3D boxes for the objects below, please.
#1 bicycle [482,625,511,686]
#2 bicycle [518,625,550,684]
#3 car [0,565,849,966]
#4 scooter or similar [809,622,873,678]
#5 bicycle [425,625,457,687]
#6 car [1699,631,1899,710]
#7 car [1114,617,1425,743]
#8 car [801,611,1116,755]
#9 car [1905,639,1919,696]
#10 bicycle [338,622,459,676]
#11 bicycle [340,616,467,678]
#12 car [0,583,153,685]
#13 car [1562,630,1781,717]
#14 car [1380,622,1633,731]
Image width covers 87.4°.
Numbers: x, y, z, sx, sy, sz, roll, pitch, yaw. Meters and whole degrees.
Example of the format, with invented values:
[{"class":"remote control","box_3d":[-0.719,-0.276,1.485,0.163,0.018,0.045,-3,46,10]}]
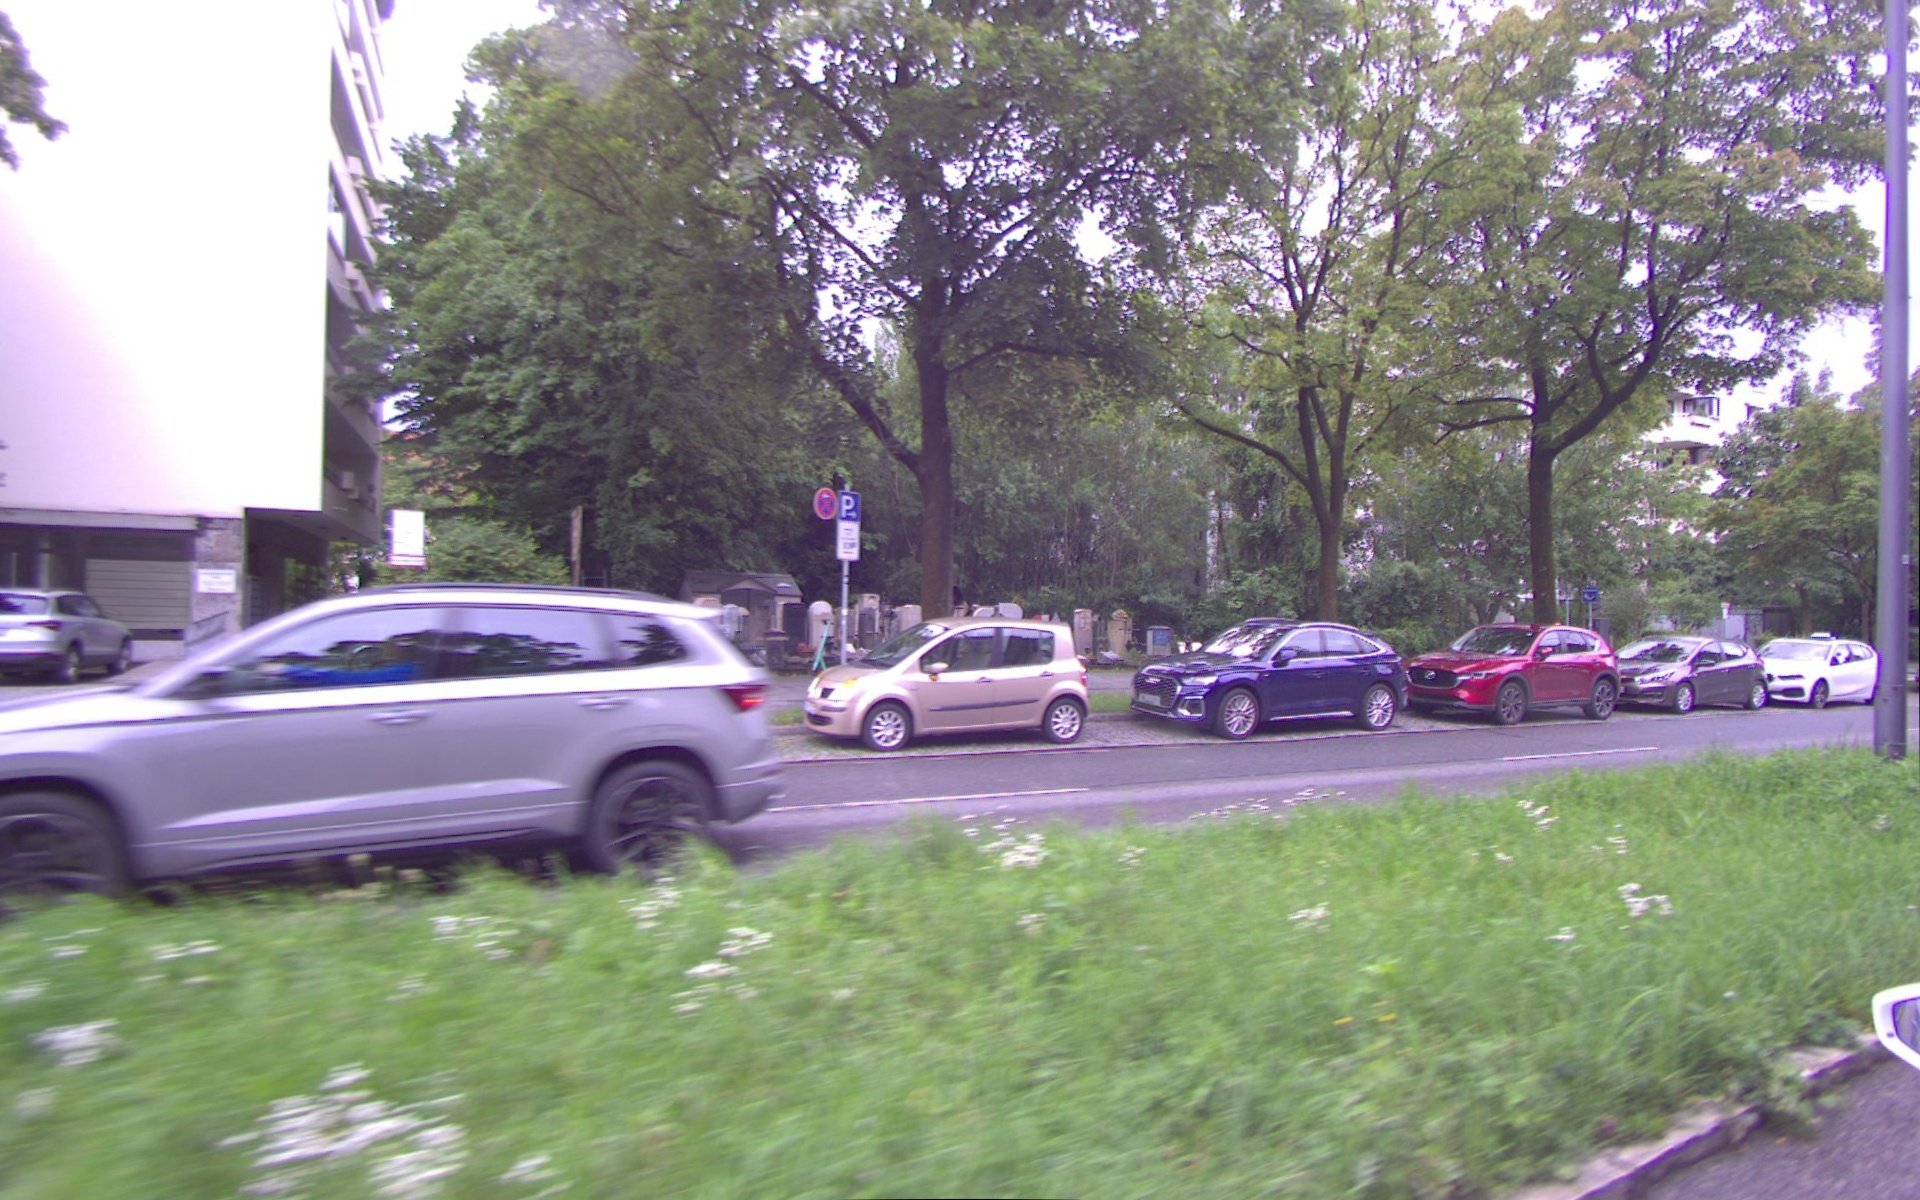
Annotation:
[{"class":"bicycle","box_3d":[-8.274,0.968,17.915,0.431,1.020,1.756,1,-1,-26]},{"class":"bicycle","box_3d":[-7.781,0.972,18.325,0.431,1.020,1.756,1,-1,-26]},{"class":"car","box_3d":[-2.958,0.737,5.605,4.319,1.646,1.760,2,-2,-26]},{"class":"scooter or similar","box_3d":[-2.484,1.040,20.926,1.268,1.141,0.435,1,-1,-14]},{"class":"bicycle","box_3d":[-8.991,0.943,17.429,0.431,1.020,1.756,1,-1,-26]},{"class":"car","box_3d":[18.668,1.521,22.324,4.416,1.550,1.733,1,1,-26]},{"class":"car","box_3d":[4.790,1.154,15.429,4.622,1.665,1.733,1,0,-26]},{"class":"car","box_3d":[-0.019,1.011,13.129,3.766,1.636,1.642,1,0,-25]},{"class":"car","box_3d":[27.456,1.850,26.778,4.760,1.468,1.730,2,1,-27]},{"class":"bicycle","box_3d":[-10.943,0.947,19.661,2.005,1.020,0.577,1,-1,-26]},{"class":"bicycle","box_3d":[-10.321,0.865,18.707,2.005,1.114,0.577,1,-1,-26]},{"class":"car","box_3d":[-15.949,0.579,17.677,1.724,1.610,3.977,1,-1,-24]},{"class":"car","box_3d":[14.338,1.431,20.229,4.276,1.502,1.733,1,1,-26]},{"class":"car","box_3d":[9.801,1.291,17.945,4.548,1.674,1.732,1,1,-28]}]
